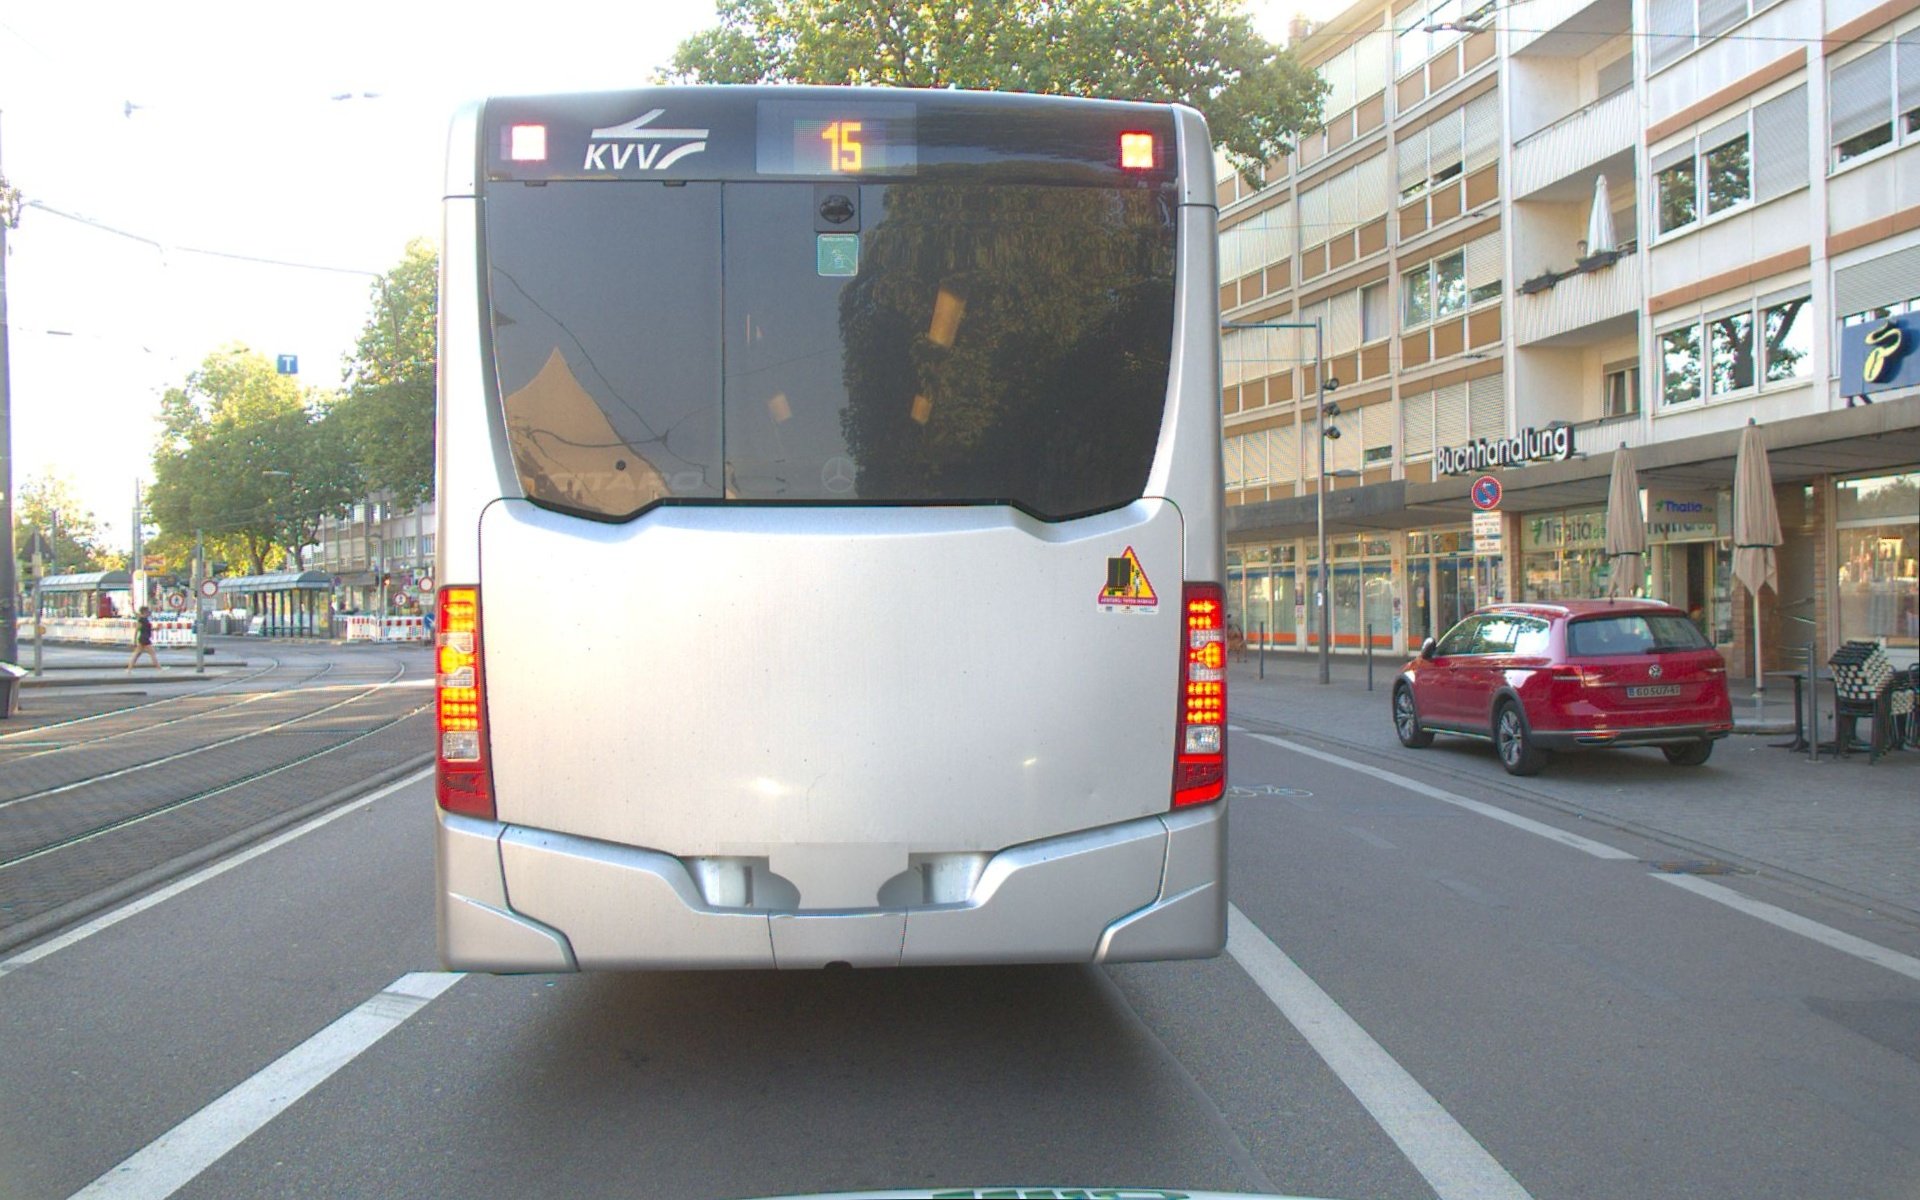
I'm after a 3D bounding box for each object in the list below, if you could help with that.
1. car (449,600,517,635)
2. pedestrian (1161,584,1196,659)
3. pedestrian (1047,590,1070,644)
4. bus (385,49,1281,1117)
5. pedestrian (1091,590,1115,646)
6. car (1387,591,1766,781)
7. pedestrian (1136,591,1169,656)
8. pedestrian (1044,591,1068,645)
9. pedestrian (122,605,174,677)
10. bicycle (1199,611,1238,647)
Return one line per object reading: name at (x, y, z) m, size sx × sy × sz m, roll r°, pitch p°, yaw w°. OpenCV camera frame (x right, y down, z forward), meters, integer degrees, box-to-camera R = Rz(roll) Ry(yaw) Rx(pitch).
car at (-25.358, 0.930, 87.881) m, size 1.982 × 1.823 × 3.940 m, roll 2°, pitch -1°, yaw -41°
pedestrian at (5.200, 0.507, 39.331) m, size 0.634 × 1.747 × 0.557 m, roll -1°, pitch 0°, yaw -17°
pedestrian at (3.093, 0.533, 52.036) m, size 0.527 × 1.677 × 0.612 m, roll -1°, pitch 0°, yaw -18°
bus at (-0.438, -0.030, 9.803) m, size 2.577 × 3.081 × 9.995 m, roll 0°, pitch 0°, yaw -1°
pedestrian at (4.303, 0.541, 49.775) m, size 0.527 × 1.677 × 0.612 m, roll -1°, pitch 0°, yaw -18°
car at (5.700, 0.715, 15.923) m, size 1.735 × 1.508 × 4.299 m, roll -2°, pitch 0°, yaw -4°
pedestrian at (4.812, 0.587, 41.322) m, size 0.634 × 1.609 × 0.557 m, roll -1°, pitch 0°, yaw -17°
pedestrian at (3.019, 0.558, 52.020) m, size 0.527 × 1.677 × 0.612 m, roll -1°, pitch 0°, yaw -18°
pedestrian at (-19.620, 1.000, 39.991) m, size 0.977 × 1.716 × 0.642 m, roll 0°, pitch -2°, yaw -13°
bicycle at (7.168, 0.795, 45.831) m, size 0.406 × 0.961 × 1.431 m, roll -1°, pitch 0°, yaw -20°
